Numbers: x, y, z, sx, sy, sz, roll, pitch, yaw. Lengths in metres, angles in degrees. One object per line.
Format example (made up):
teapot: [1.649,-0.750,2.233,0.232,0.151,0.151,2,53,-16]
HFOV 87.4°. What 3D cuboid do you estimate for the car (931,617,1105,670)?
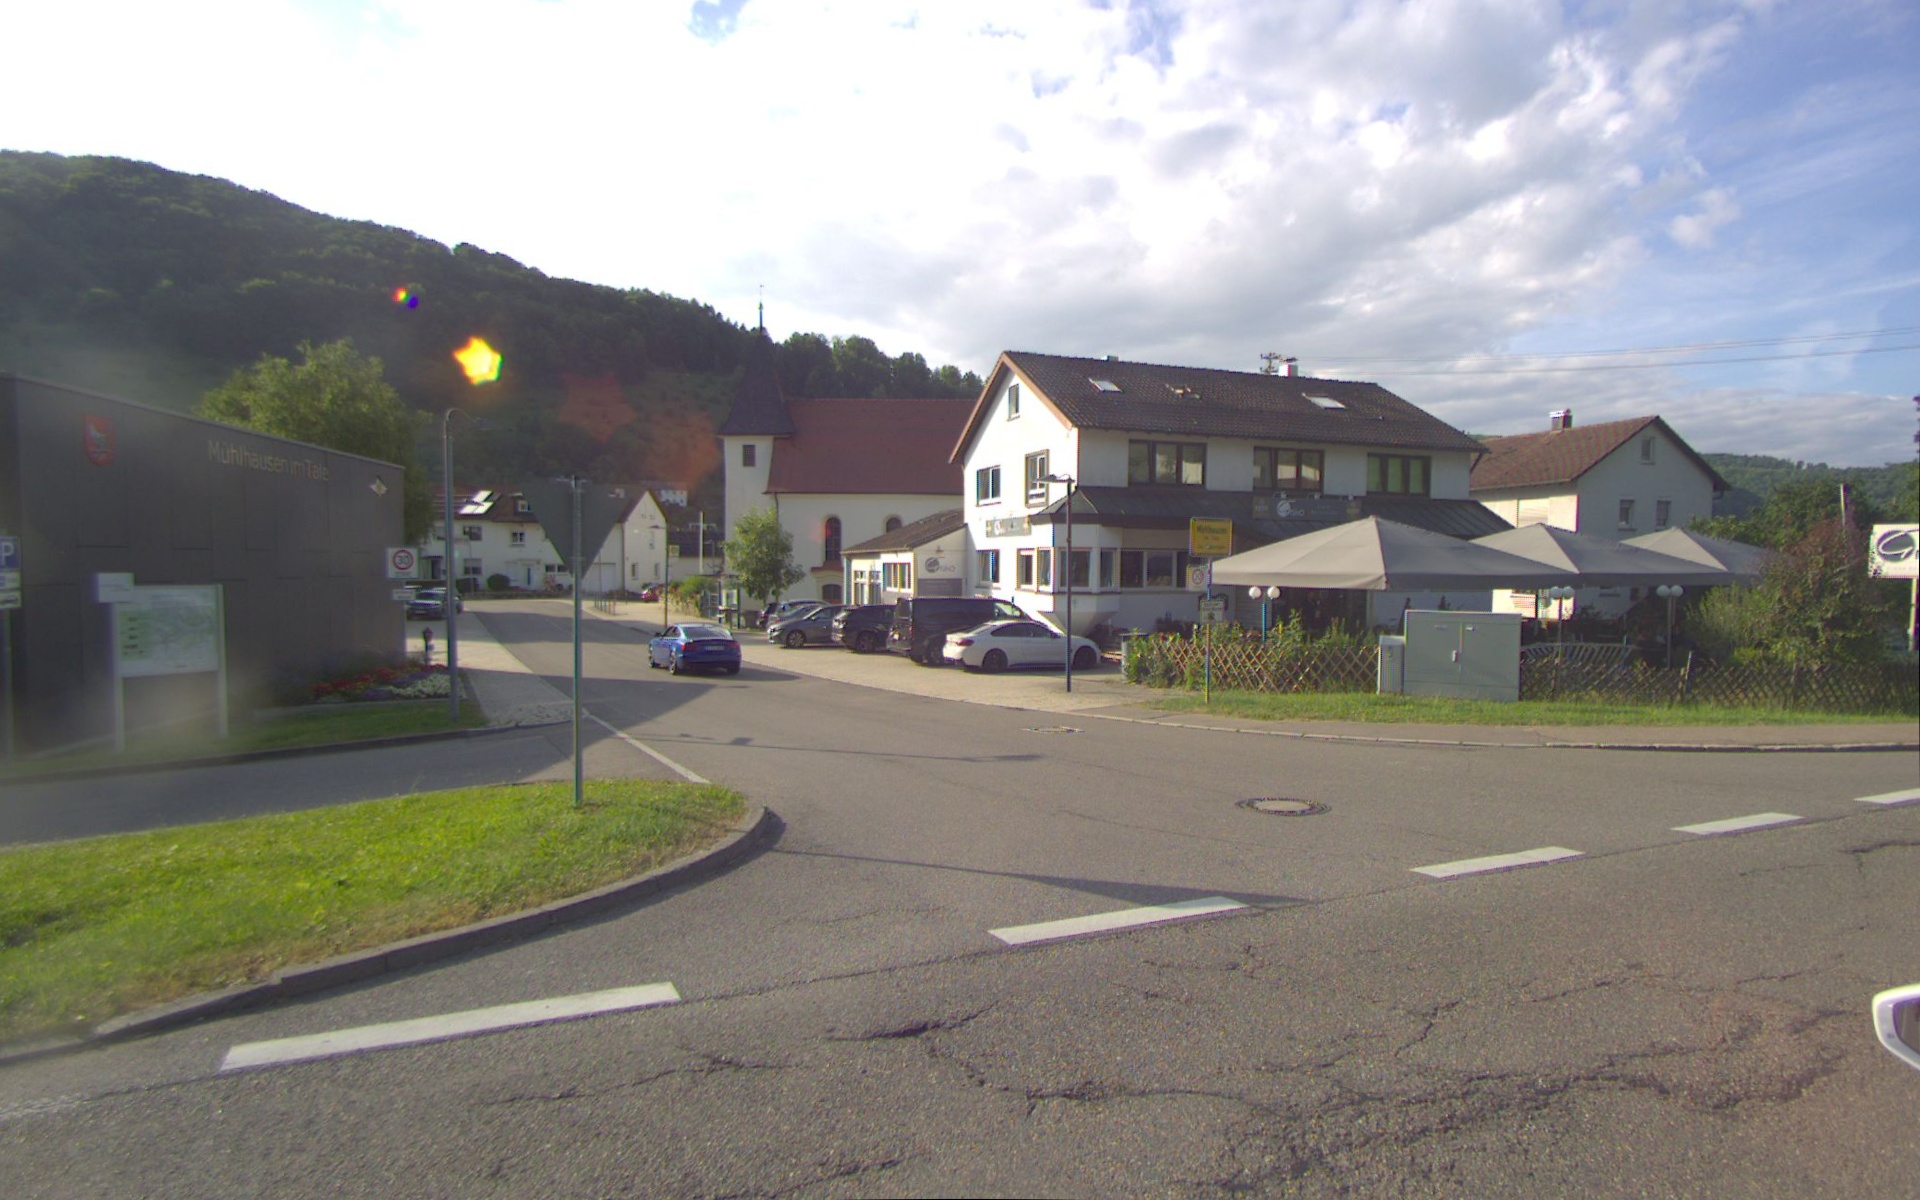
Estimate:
car: [1.644,1.186,28.300,4.512,1.408,1.989,1,-1,-24]

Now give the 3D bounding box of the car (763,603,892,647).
car: [-5.030,0.945,38.104,4.512,1.618,1.989,1,-1,-24]

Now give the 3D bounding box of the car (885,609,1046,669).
car: [0.170,1.155,30.575,4.512,1.707,1.989,1,-1,-24]

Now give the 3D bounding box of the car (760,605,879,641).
car: [-5.779,0.945,41.321,4.512,1.431,1.989,1,-1,-24]

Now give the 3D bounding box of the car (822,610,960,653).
car: [-2.447,1.107,35.796,4.512,1.431,1.989,1,-1,-24]

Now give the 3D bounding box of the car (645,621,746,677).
car: [-7.487,1.313,28.132,1.813,1.428,4.195,1,-1,-28]

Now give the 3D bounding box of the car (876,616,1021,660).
car: [-0.386,1.244,33.766,4.512,1.408,1.989,1,-1,-24]

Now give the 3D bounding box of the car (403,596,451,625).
car: [-28.883,0.554,54.364,1.979,1.534,3.964,0,0,-33]

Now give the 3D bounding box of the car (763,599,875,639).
car: [-6.167,0.833,43.948,4.512,1.665,1.989,1,-1,-24]

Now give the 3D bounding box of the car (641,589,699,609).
car: [-22.396,-0.044,77.523,3.951,1.528,1.985,0,0,-29]
